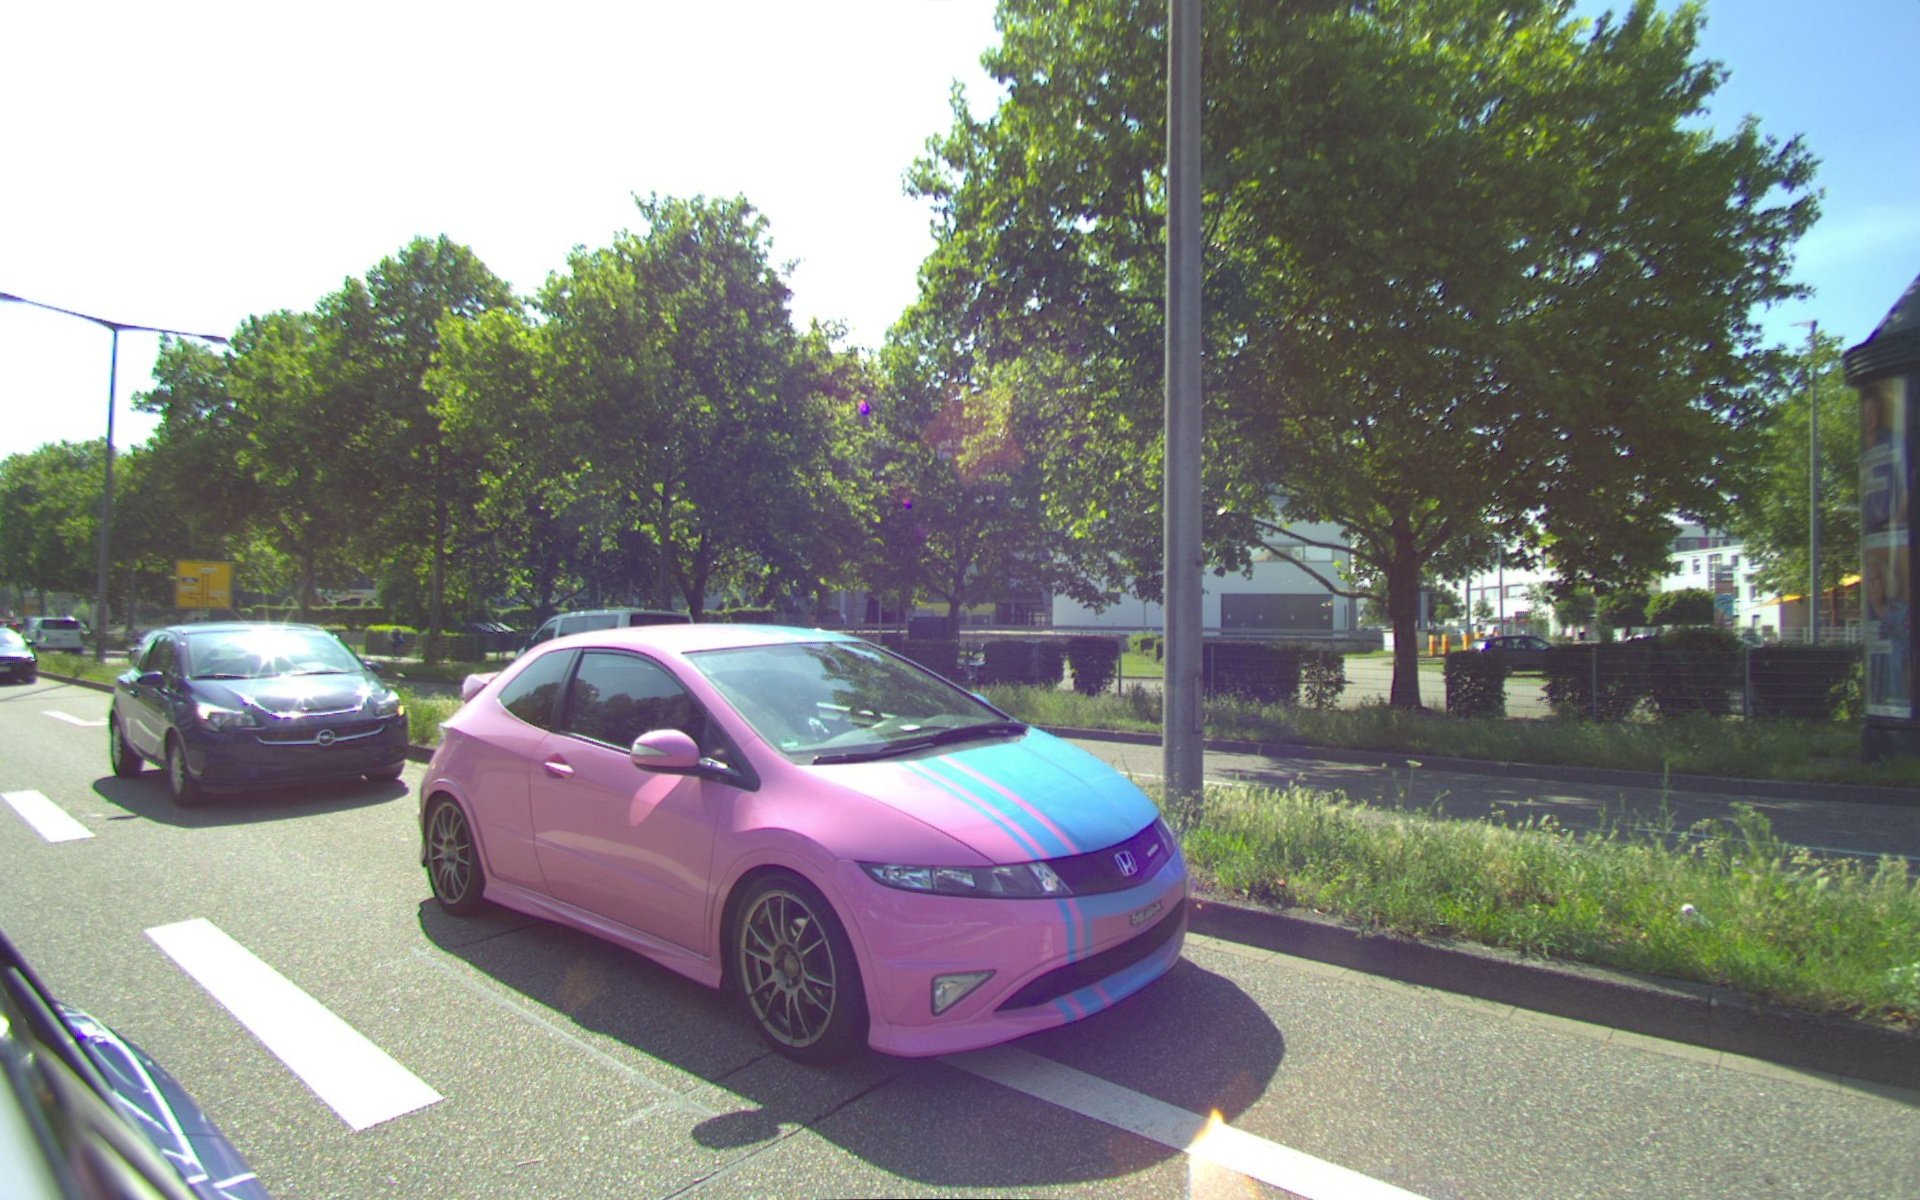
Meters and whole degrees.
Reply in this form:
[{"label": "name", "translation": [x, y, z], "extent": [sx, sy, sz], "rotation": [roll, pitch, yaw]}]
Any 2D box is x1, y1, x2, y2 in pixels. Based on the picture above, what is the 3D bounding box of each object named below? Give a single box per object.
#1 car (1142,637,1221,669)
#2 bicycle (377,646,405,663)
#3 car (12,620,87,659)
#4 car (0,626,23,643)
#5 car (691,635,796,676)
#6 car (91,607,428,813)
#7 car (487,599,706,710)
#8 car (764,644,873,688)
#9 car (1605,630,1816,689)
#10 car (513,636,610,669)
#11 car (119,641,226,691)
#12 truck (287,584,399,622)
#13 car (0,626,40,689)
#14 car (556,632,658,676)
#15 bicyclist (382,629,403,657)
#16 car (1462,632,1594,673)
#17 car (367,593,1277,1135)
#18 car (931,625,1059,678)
[{"label": "car", "translation": [11.806, 2.815, 53.924], "extent": [3.932, 1.516, 1.810], "rotation": [0, -3, -33]}, {"label": "bicycle", "translation": [-30.373, 2.909, 53.998], "extent": [1.925, 0.873, 0.682], "rotation": [-1, -3, 41]}, {"label": "car", "translation": [-46.939, 2.013, 52.127], "extent": [5.415, 1.898, 2.095], "rotation": [-2, -3, 40]}, {"label": "car", "translation": [-85.535, 3.127, 90.745], "extent": [3.998, 1.473, 1.745], "rotation": [-1, -4, 42]}, {"label": "car", "translation": [-8.891, 2.272, 41.857], "extent": [1.868, 1.614, 3.946], "rotation": [-2, -3, 40]}, {"label": "car", "translation": [-6.625, 0.862, 9.395], "extent": [4.046, 1.494, 1.609], "rotation": [-2, -1, 41]}, {"label": "car", "translation": [-7.620, 1.087, 20.917], "extent": [5.210, 2.029, 1.973], "rotation": [-2, -3, 41]}, {"label": "car", "translation": [-5.203, 2.416, 37.633], "extent": [1.801, 1.424, 3.952], "rotation": [0, -1, 35]}, {"label": "car", "translation": [22.637, 1.789, 30.678], "extent": [4.779, 1.678, 1.998], "rotation": [0, -2, 2]}, {"label": "car", "translation": [-19.062, 2.496, 48.548], "extent": [1.772, 1.475, 3.944], "rotation": [-2, -3, 42]}, {"label": "car", "translation": [-26.577, 2.175, 34.095], "extent": [4.680, 1.542, 1.972], "rotation": [-2, -3, 41]}, {"label": "truck", "translation": [-56.263, 0.307, 92.397], "extent": [8.876, 3.421, 2.669], "rotation": [0, -2, 5]}, {"label": "car", "translation": [-25.346, 1.473, 26.191], "extent": [4.213, 1.518, 1.803], "rotation": [-2, -1, 41]}, {"label": "car", "translation": [-16.303, 2.438, 46.838], "extent": [2.157, 1.836, 3.941], "rotation": [-1, -1, 45]}, {"label": "bicyclist", "translation": [-30.261, 2.289, 53.928], "extent": [0.941, 1.496, 0.674], "rotation": [-1, -3, 41]}, {"label": "car", "translation": [23.270, 2.155, 41.575], "extent": [4.286, 1.633, 1.815], "rotation": [0, -2, 5]}, {"label": "car", "translation": [-1.019, 0.729, 4.738], "extent": [4.469, 1.400, 1.685], "rotation": [-2, -1, 41]}, {"label": "car", "translation": [1.116, 1.534, 30.625], "extent": [1.808, 1.506, 3.946], "rotation": [-2, -3, 40]}]
